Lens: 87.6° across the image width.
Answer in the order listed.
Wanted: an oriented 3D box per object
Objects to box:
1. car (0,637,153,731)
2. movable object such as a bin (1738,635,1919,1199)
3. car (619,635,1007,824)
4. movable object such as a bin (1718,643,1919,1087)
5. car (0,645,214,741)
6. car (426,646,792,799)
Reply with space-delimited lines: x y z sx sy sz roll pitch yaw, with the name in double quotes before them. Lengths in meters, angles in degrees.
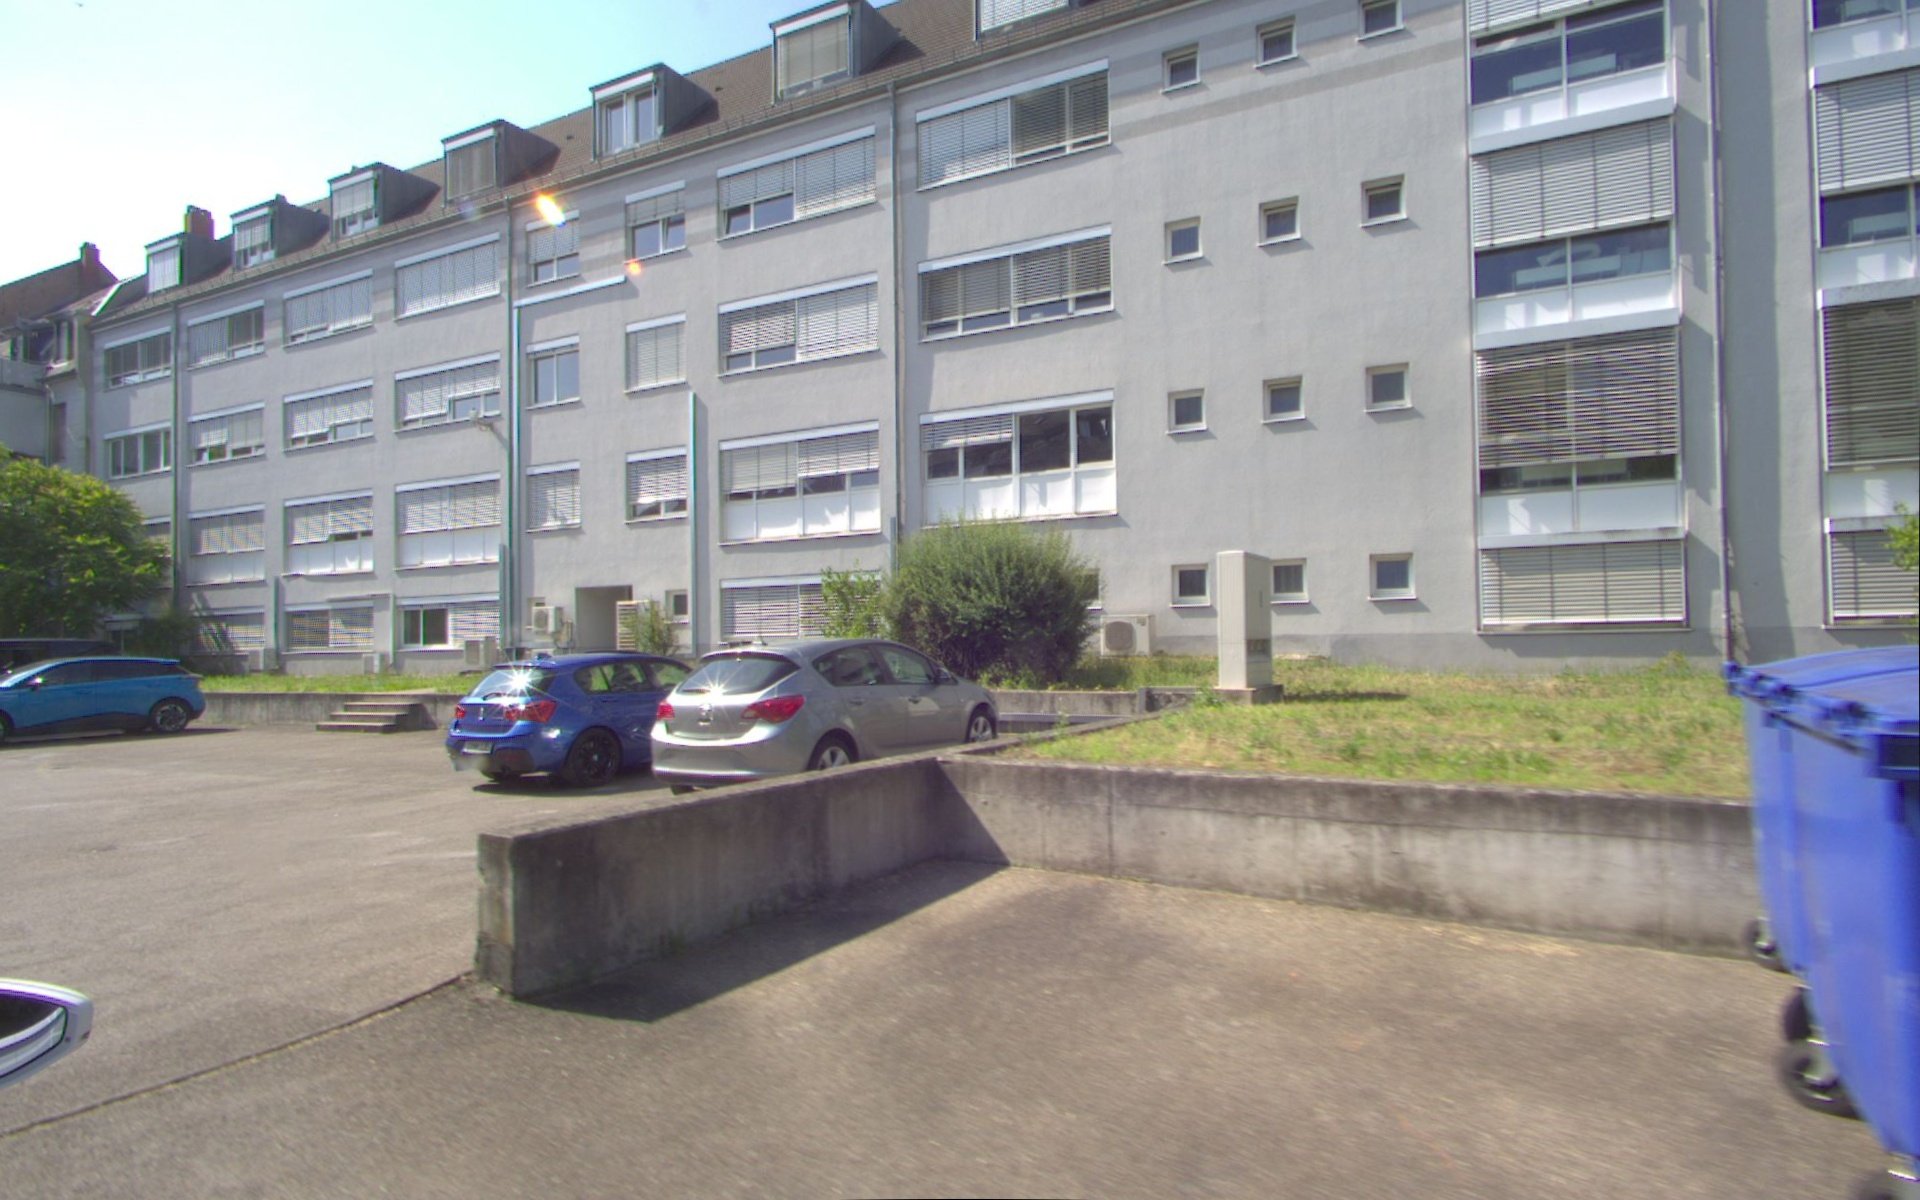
"car" -19.617 1.688 20.134 2.060 1.790 4.958 -1 -1 20
"movable object such as a bin" 2.676 0.771 2.363 1.112 1.372 1.246 -2 -2 29
"car" -1.231 1.108 10.067 1.785 1.445 3.983 -2 -2 29
"movable object such as a bin" 3.467 0.836 3.492 1.125 1.353 1.154 -2 -2 29
"car" -16.769 1.668 18.638 1.970 1.552 4.225 -1 -1 29
"car" -3.976 1.309 11.984 1.665 1.412 3.980 -2 -2 32
